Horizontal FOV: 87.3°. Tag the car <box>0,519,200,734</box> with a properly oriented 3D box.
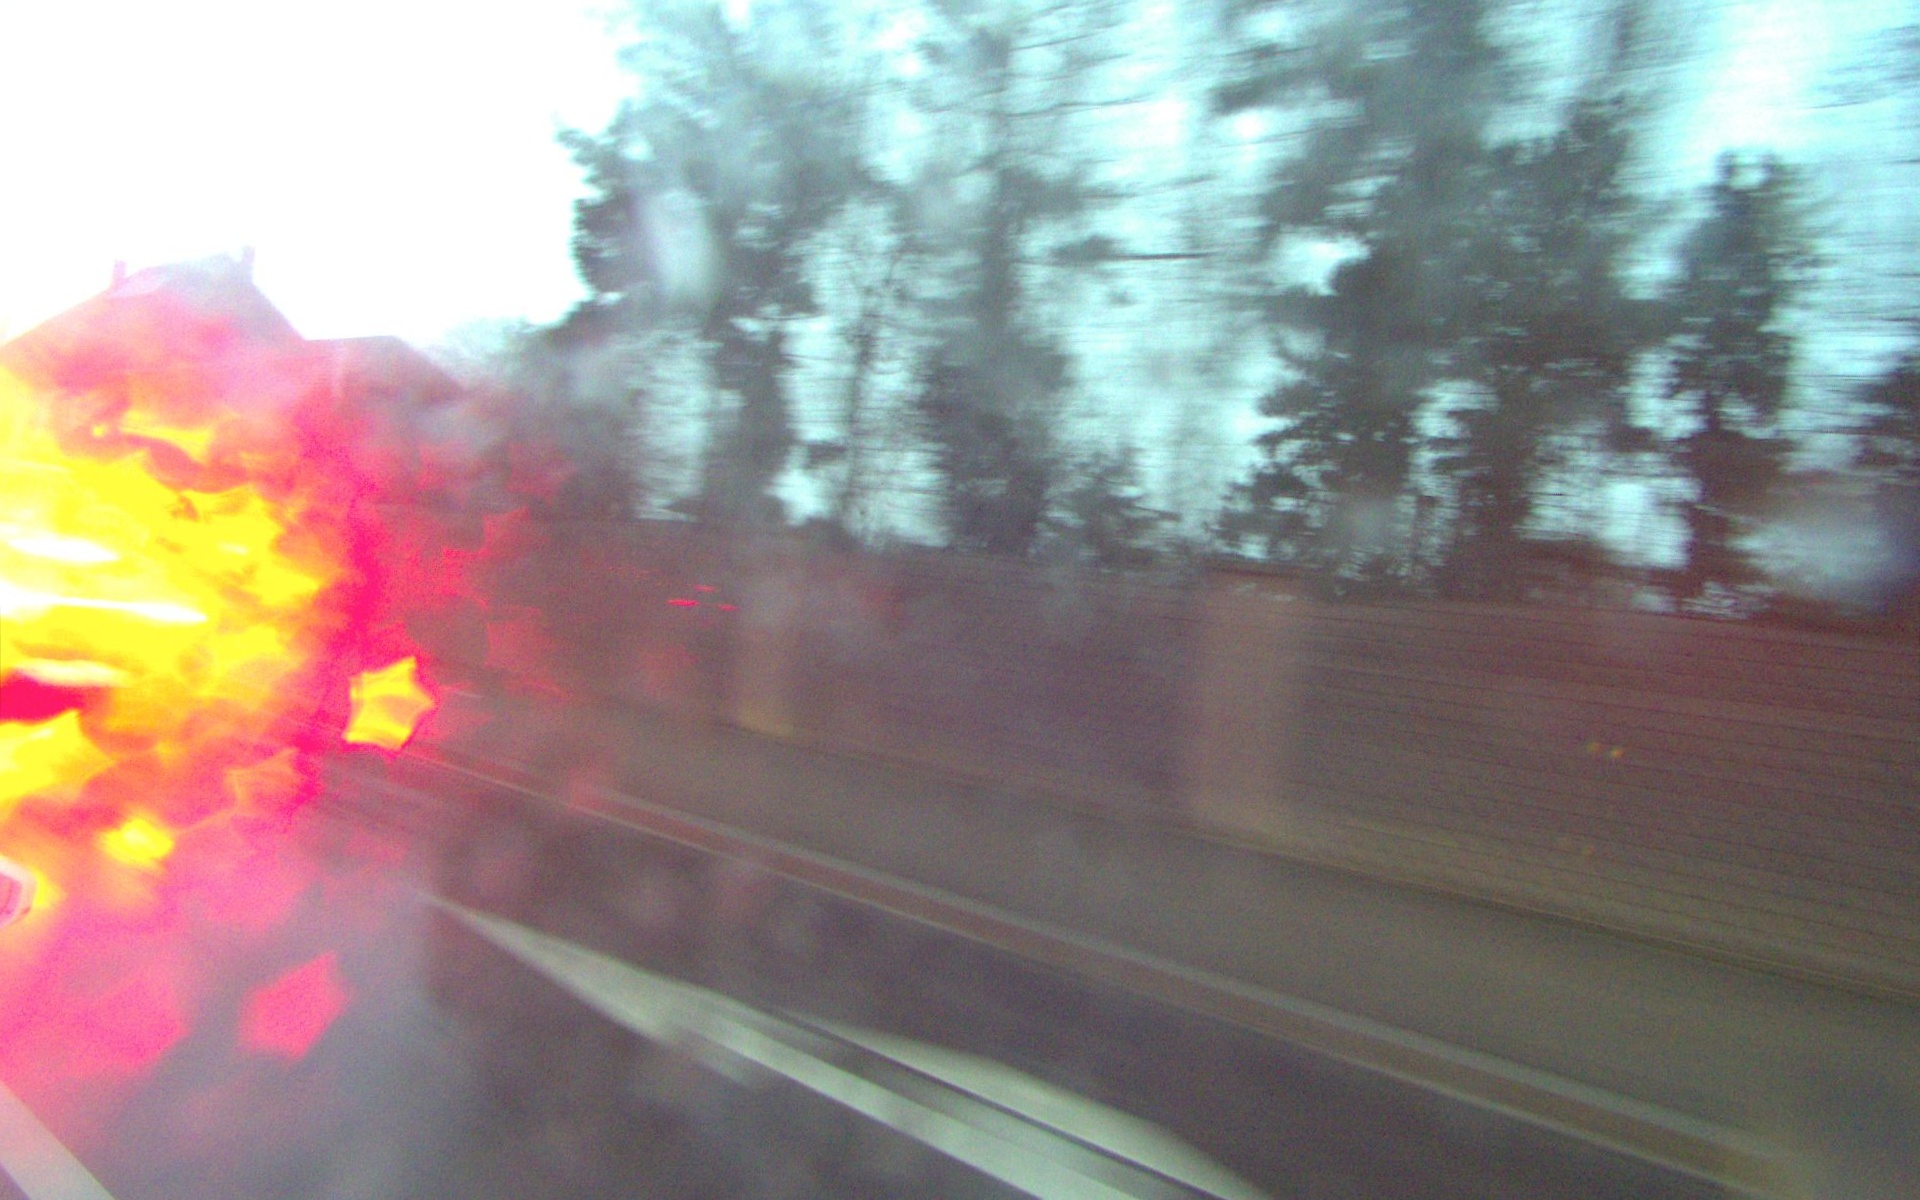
[{"bbox_3d":[-8.065,-0.004,7.926,4.690,1.382,1.644,6,-2,32],"label":"car"}]
